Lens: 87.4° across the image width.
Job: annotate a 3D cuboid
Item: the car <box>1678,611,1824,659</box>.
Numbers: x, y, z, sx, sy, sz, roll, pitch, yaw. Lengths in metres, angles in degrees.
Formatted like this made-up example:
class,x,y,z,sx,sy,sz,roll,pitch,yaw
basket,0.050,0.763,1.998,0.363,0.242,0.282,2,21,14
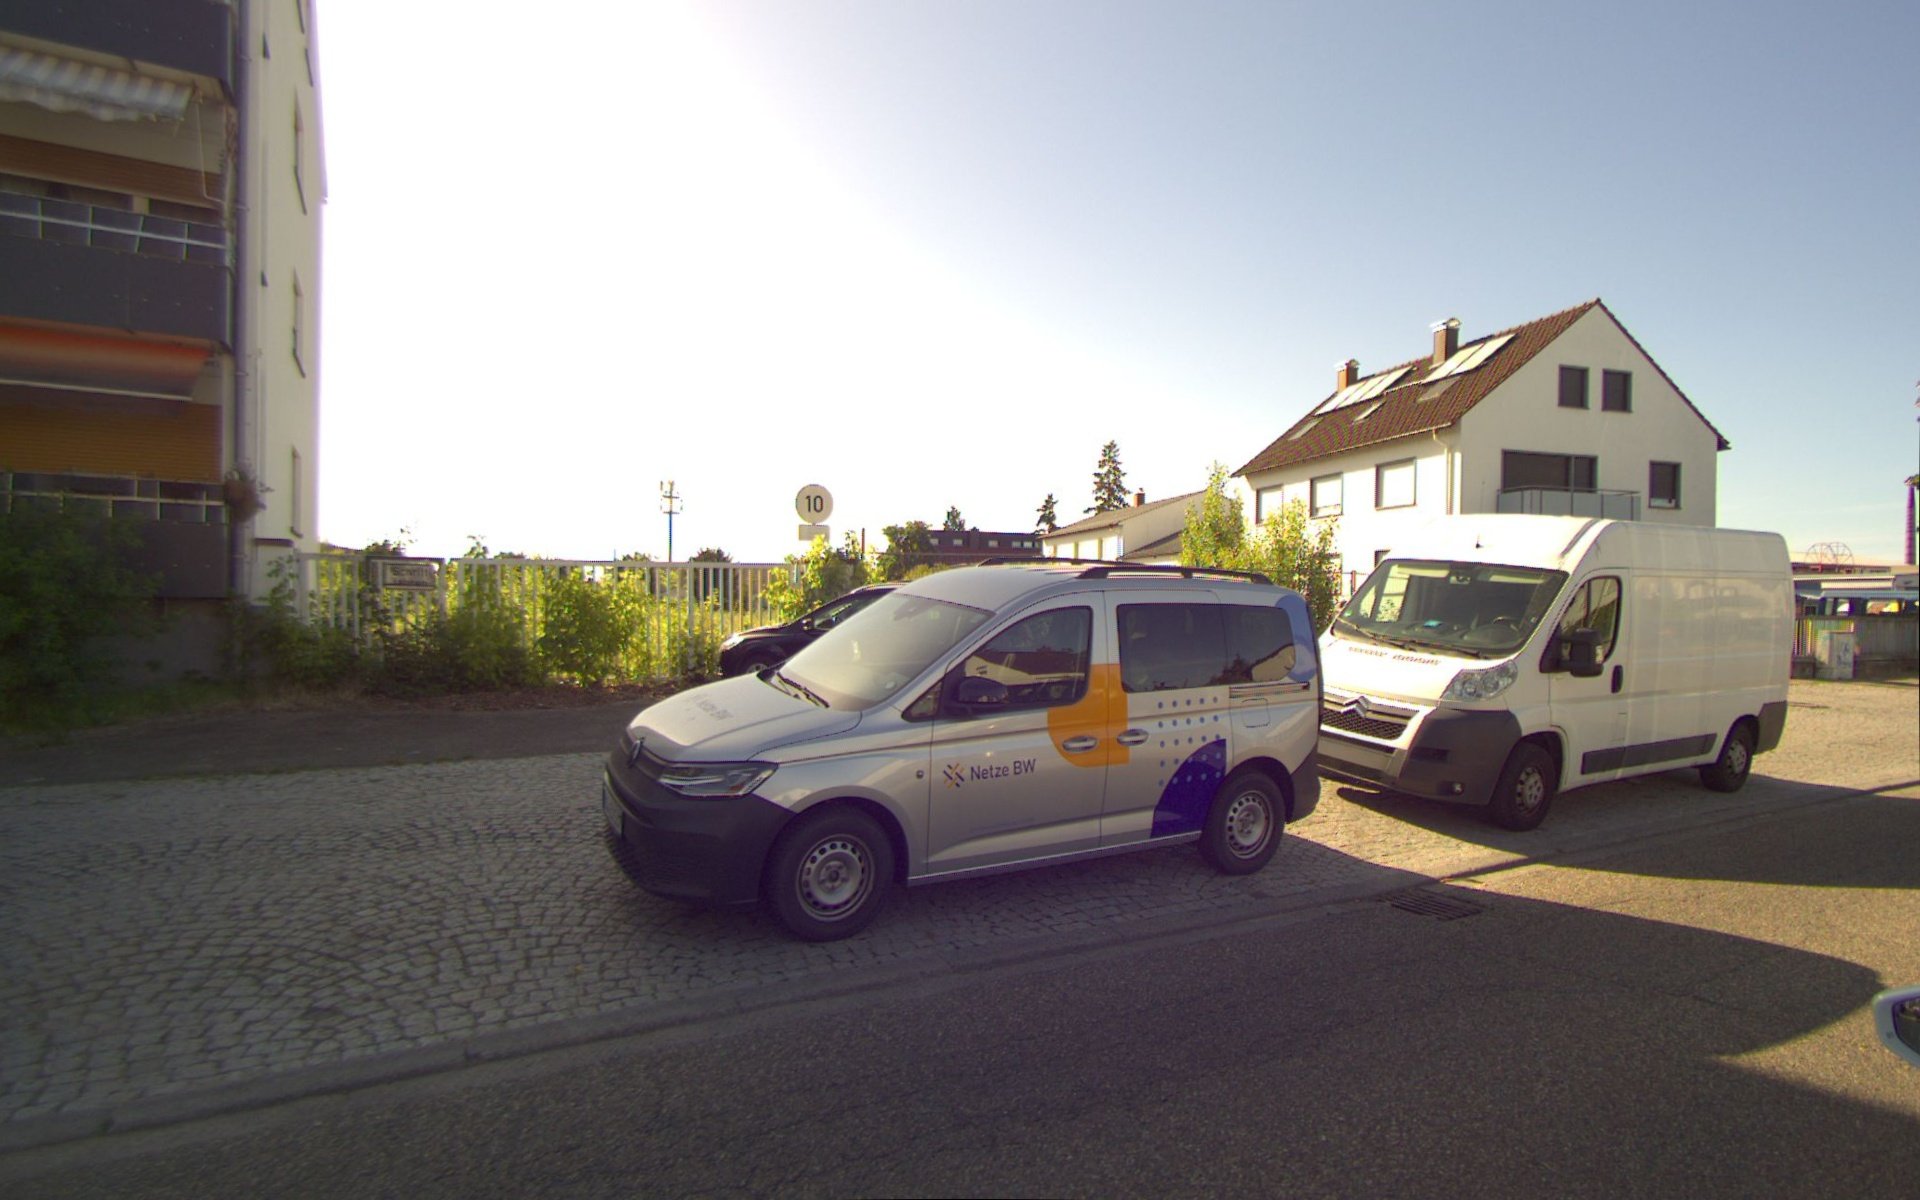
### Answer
class,x,y,z,sx,sy,sz,roll,pitch,yaw
car,28.884,1.253,36.848,1.651,1.600,3.982,3,-1,-16

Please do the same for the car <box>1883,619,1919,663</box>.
class,x,y,z,sx,sy,sz,roll,pitch,yaw
car,35.586,1.519,35.349,1.741,1.562,4.238,1,0,-23

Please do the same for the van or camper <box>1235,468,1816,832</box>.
class,x,y,z,sx,sy,sz,roll,pitch,yaw
van or camper,5.338,0.338,9.256,5.491,2.523,2.112,1,3,-31

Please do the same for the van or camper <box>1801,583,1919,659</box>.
class,x,y,z,sx,sy,sz,roll,pitch,yaw
van or camper,30.567,0.676,32.355,2.207,2.351,4.891,2,0,-17

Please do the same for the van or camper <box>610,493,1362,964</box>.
class,x,y,z,sx,sy,sz,roll,pitch,yaw
van or camper,0.231,0.540,6.185,4.228,2.041,1.869,1,3,-30

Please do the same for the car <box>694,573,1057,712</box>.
class,x,y,z,sx,sy,sz,roll,pitch,yaw
car,-1.008,0.482,12.774,4.299,1.534,1.615,1,0,11

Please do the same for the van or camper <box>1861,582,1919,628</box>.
class,x,y,z,sx,sy,sz,roll,pitch,yaw
van or camper,59.853,0.355,63.074,6.173,2.751,2.162,1,0,-20
